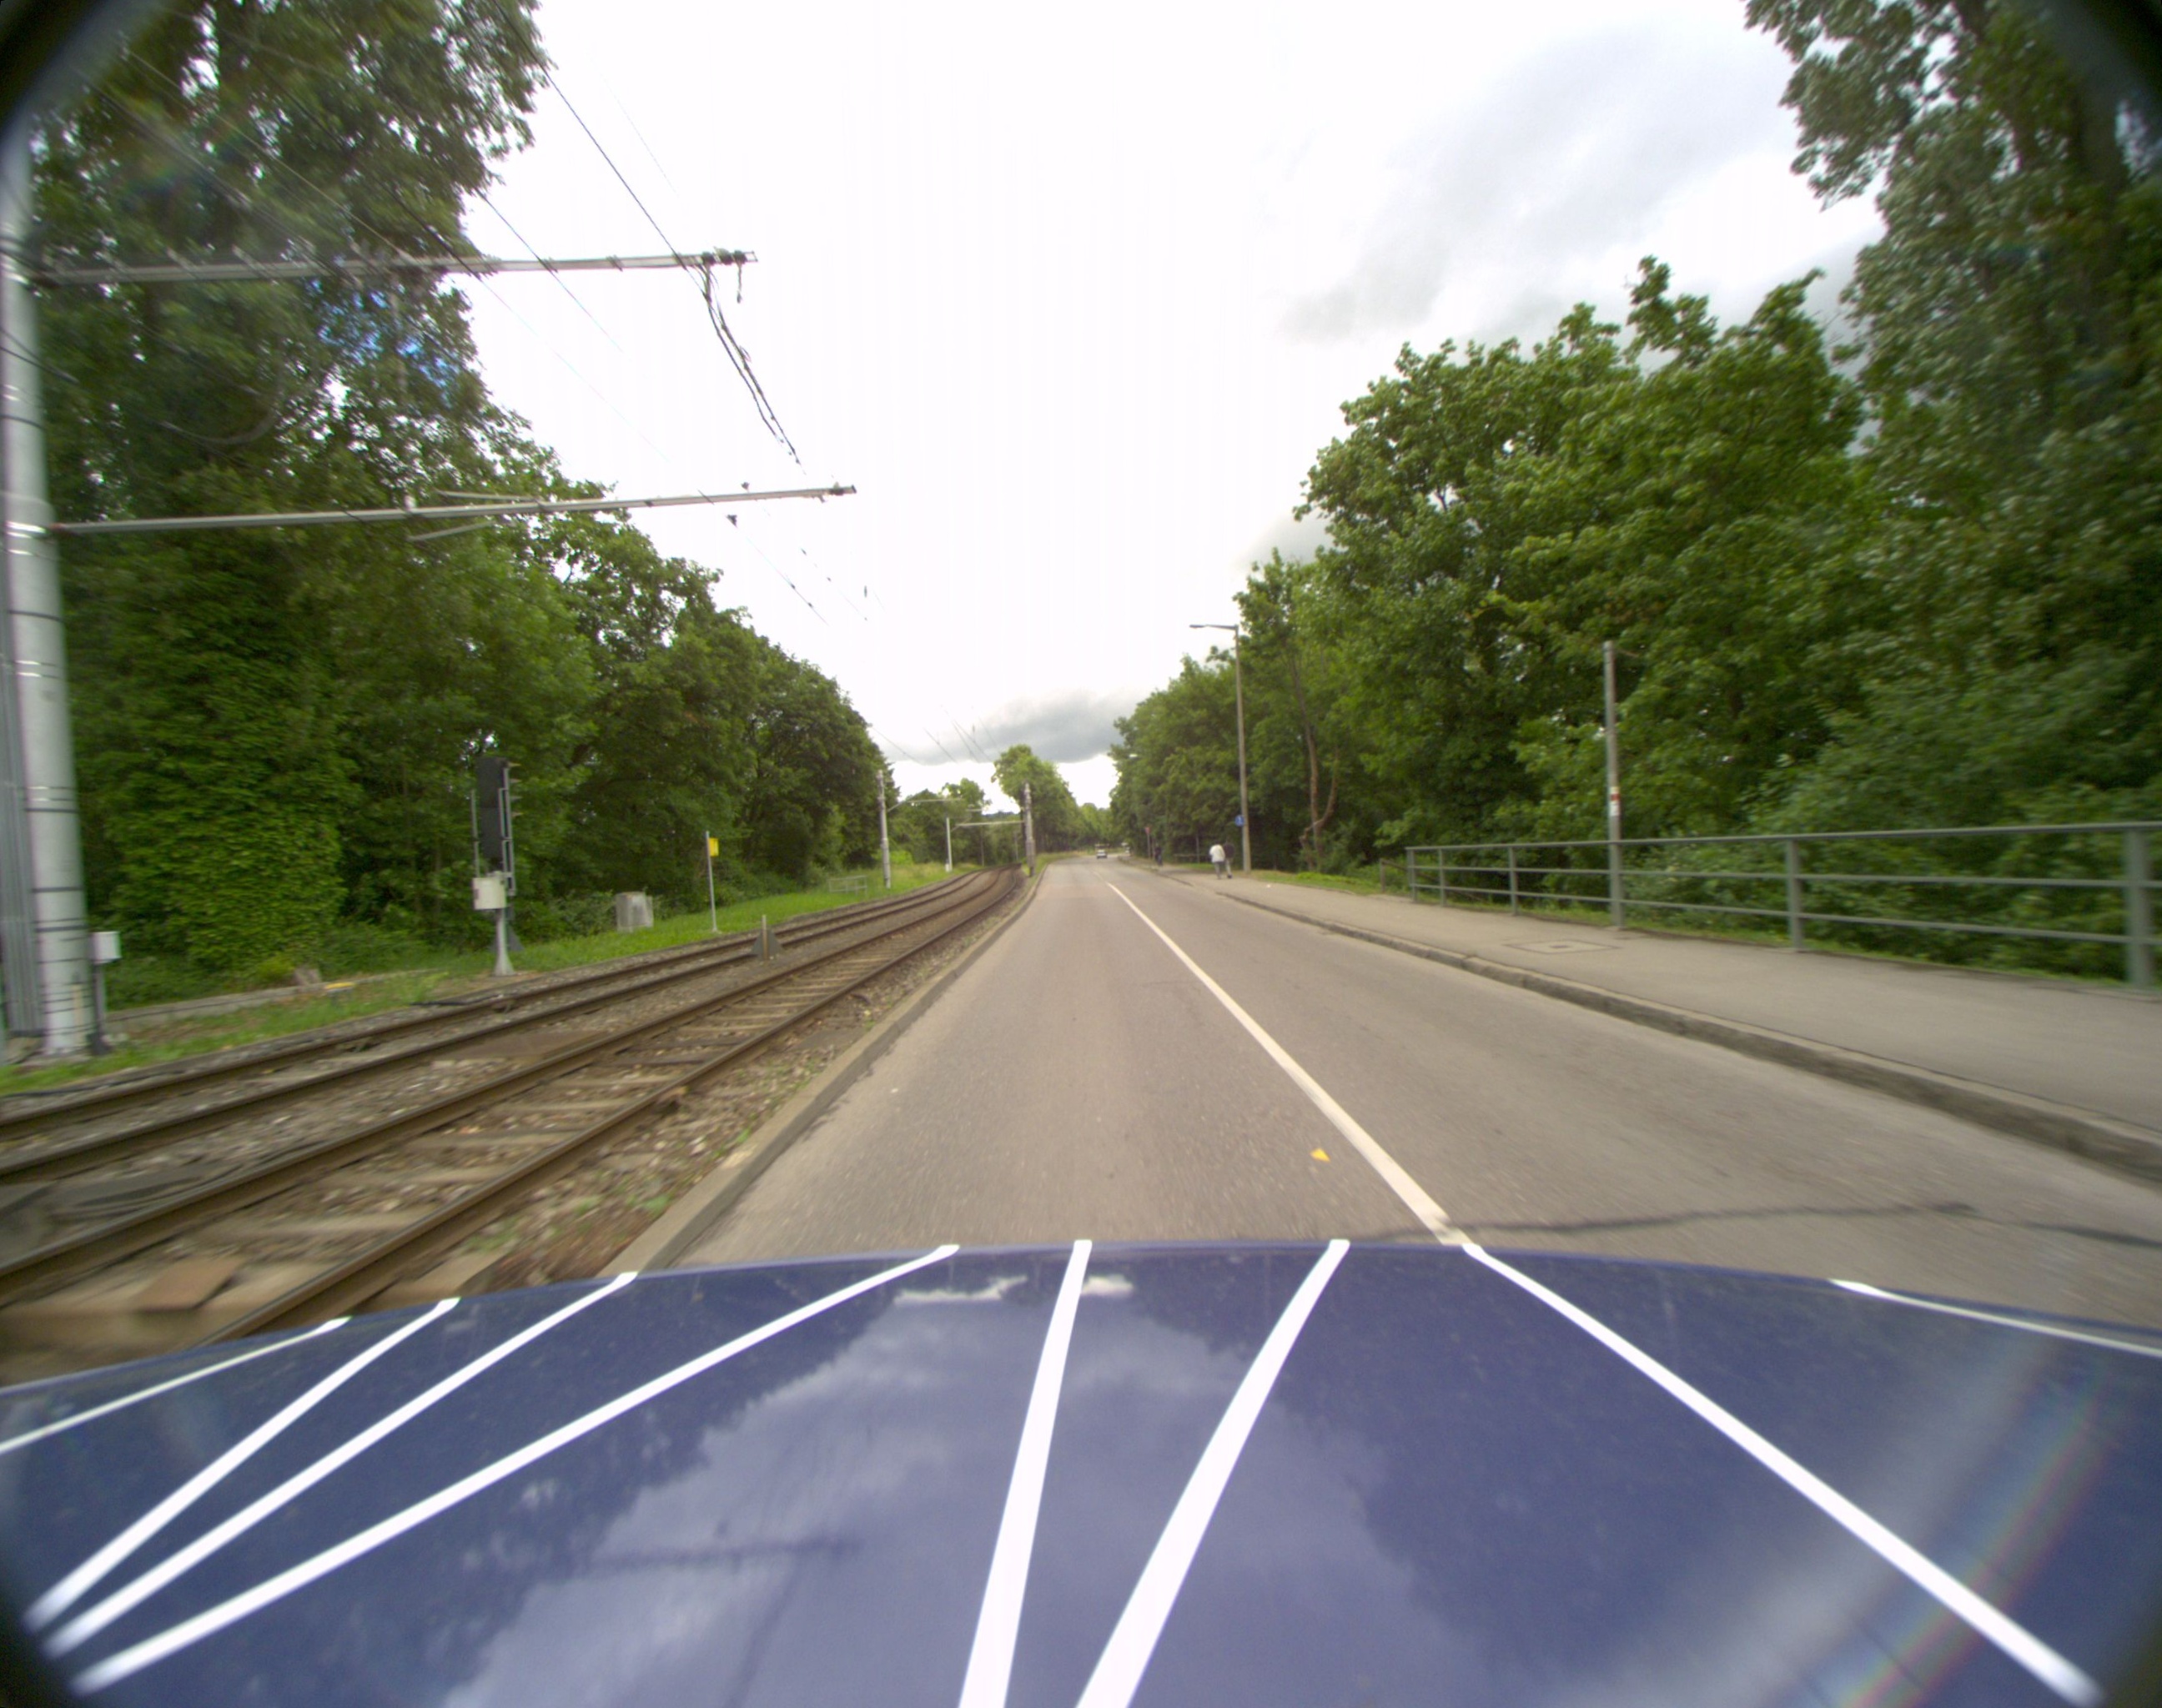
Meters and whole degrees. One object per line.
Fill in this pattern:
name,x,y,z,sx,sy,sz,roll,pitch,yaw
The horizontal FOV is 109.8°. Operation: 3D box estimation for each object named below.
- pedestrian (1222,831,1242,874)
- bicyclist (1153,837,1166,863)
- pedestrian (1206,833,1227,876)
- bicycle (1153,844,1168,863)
pedestrian,6.520,-0.049,32.846,0.588,1.793,0.822,-4,1,-1
bicyclist,5.954,-0.281,57.507,0.688,1.937,0.835,-4,1,-4
pedestrian,5.845,0.017,32.761,0.552,1.755,0.858,-7,1,-1
bicycle,5.996,-0.046,57.401,0.700,1.324,2.279,-4,2,-4
